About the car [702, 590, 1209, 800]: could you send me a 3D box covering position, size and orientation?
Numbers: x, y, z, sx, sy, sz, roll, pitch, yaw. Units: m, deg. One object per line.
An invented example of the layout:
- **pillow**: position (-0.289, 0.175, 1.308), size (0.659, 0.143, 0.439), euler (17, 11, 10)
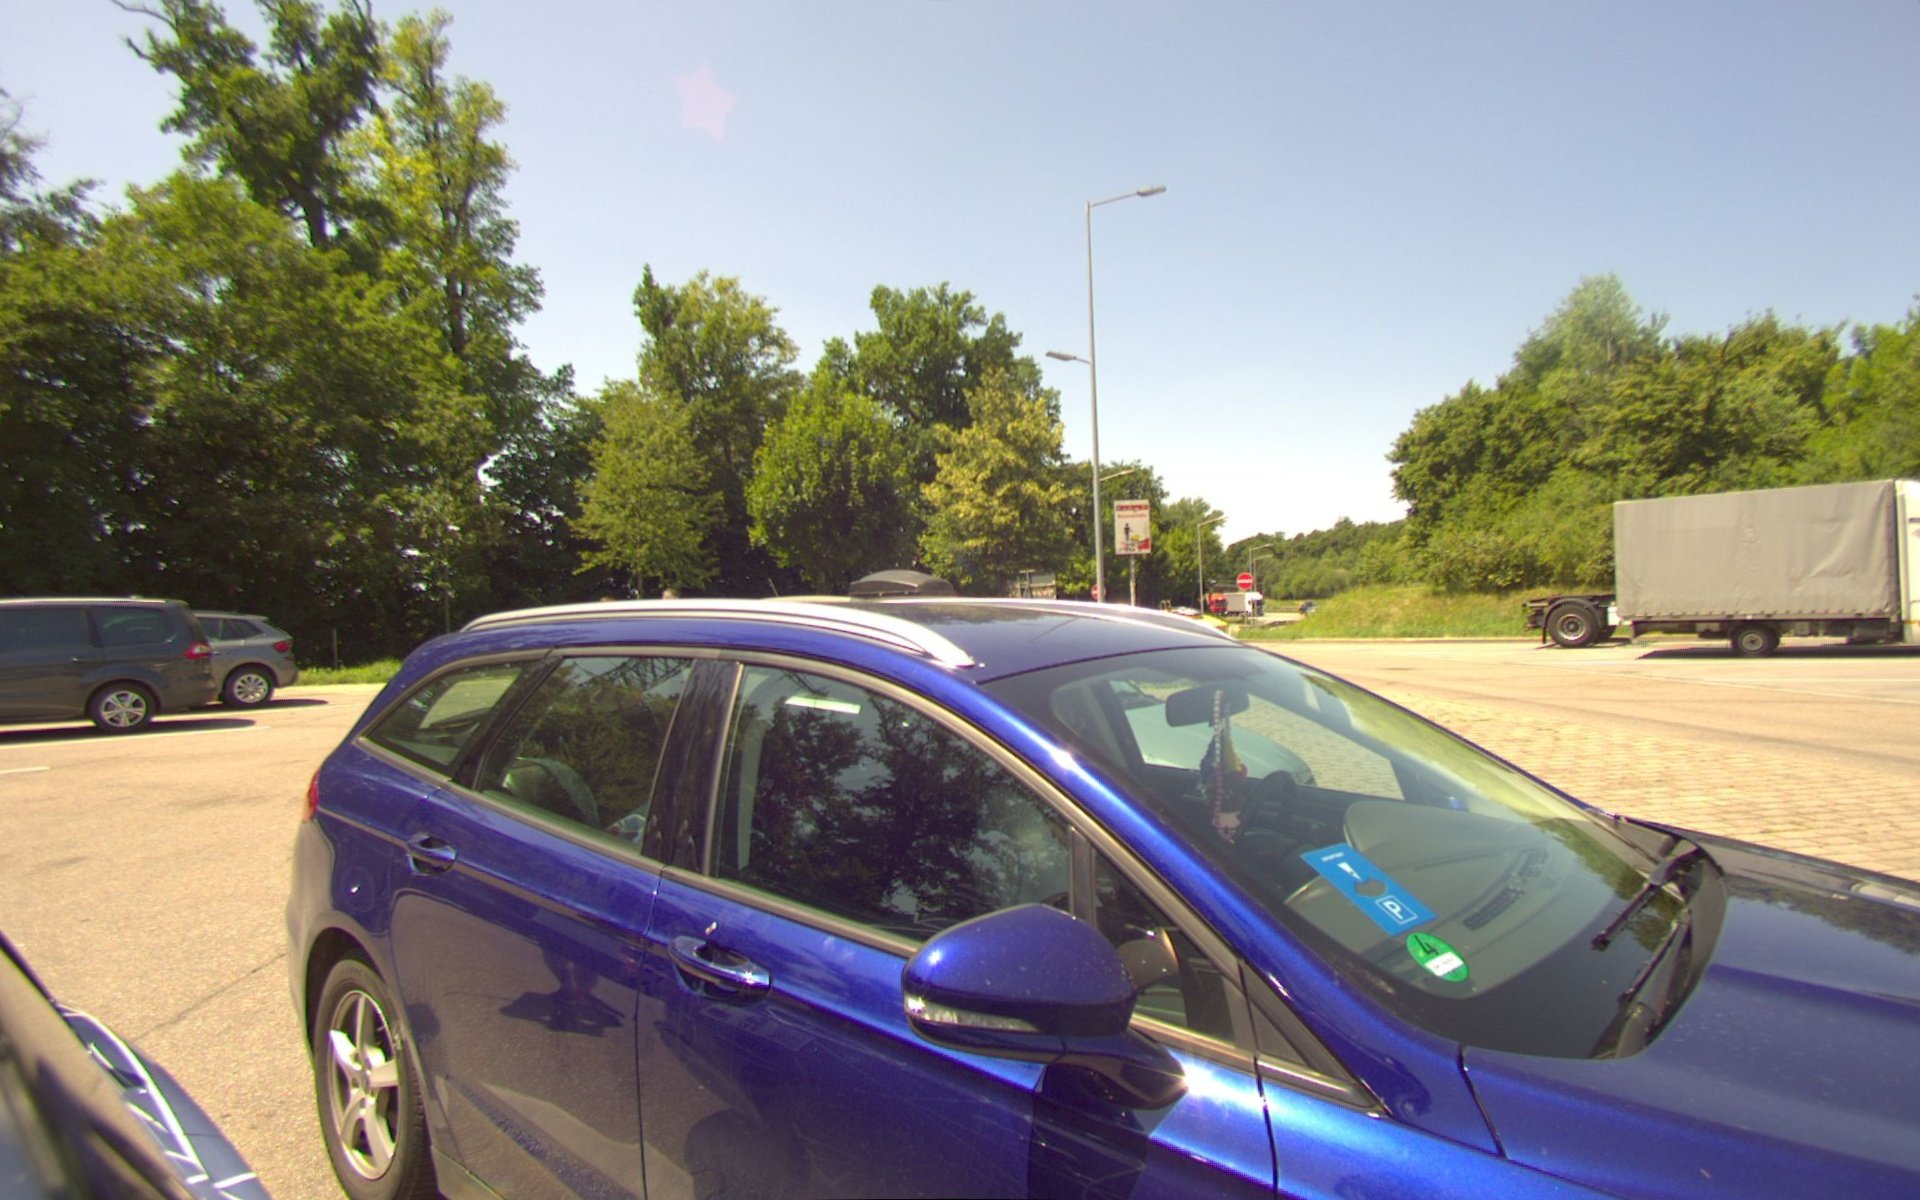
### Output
- **car**: position (-0.235, 0.749, 9.187), size (4.490, 1.437, 1.754), euler (-3, -1, 40)

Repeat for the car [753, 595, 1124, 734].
- **car**: position (-0.376, 0.774, 12.735), size (4.485, 1.437, 1.756), euler (-3, -1, 36)

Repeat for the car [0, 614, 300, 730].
- **car**: position (-12.587, 1.004, 15.441), size (1.687, 1.515, 3.943), euler (-1, 0, 43)

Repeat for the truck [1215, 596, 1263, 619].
- **truck**: position (47.868, 1.248, 174.529), size (2.570, 3.849, 16.338), euler (-1, 0, -4)

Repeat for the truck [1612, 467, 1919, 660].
- **truck**: position (16.837, -0.658, 18.941), size (7.295, 3.259, 2.709), euler (-4, -1, 43)

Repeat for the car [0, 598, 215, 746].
- **car**: position (-11.932, 0.859, 12.277), size (4.553, 1.725, 1.741), euler (0, -1, -41)

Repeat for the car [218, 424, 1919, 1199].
- **car**: position (0.263, 0.661, 2.115), size (4.490, 1.502, 1.851), euler (-3, 0, 40)

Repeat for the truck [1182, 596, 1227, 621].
- **truck**: position (42.535, 1.400, 176.709), size (3.086, 4.150, 15.413), euler (-1, 0, -4)

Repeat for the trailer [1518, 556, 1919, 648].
- **trailer**: position (17.263, 0.122, 23.368), size (7.295, 1.701, 2.235), euler (-4, -1, 43)

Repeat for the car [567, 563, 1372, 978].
- **car**: position (-0.248, 0.694, 5.813), size (4.490, 1.511, 1.754), euler (-3, -1, 40)

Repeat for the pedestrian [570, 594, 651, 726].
- **pedestrian**: position (-4.594, 0.773, 13.347), size (0.822, 1.676, 0.676), euler (-1, -1, 0)

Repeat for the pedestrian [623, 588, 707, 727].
- **pedestrian**: position (-3.842, 0.735, 13.226), size (0.671, 1.746, 0.828), euler (-1, -1, 22)

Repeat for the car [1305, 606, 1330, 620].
- **car**: position (51.079, 1.843, 144.576), size (1.873, 1.829, 4.003), euler (-1, 0, -3)

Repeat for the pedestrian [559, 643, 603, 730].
- **pedestrian**: position (-4.773, 1.085, 12.758), size (0.427, 1.052, 0.440), euler (-1, -1, -7)

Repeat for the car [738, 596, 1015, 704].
- **car**: position (-1.467, 0.825, 16.834), size (4.485, 1.562, 1.756), euler (-3, -1, 36)

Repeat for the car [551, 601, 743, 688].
- **car**: position (-6.802, 0.902, 22.610), size (1.981, 1.725, 4.595), euler (-1, 0, 15)
